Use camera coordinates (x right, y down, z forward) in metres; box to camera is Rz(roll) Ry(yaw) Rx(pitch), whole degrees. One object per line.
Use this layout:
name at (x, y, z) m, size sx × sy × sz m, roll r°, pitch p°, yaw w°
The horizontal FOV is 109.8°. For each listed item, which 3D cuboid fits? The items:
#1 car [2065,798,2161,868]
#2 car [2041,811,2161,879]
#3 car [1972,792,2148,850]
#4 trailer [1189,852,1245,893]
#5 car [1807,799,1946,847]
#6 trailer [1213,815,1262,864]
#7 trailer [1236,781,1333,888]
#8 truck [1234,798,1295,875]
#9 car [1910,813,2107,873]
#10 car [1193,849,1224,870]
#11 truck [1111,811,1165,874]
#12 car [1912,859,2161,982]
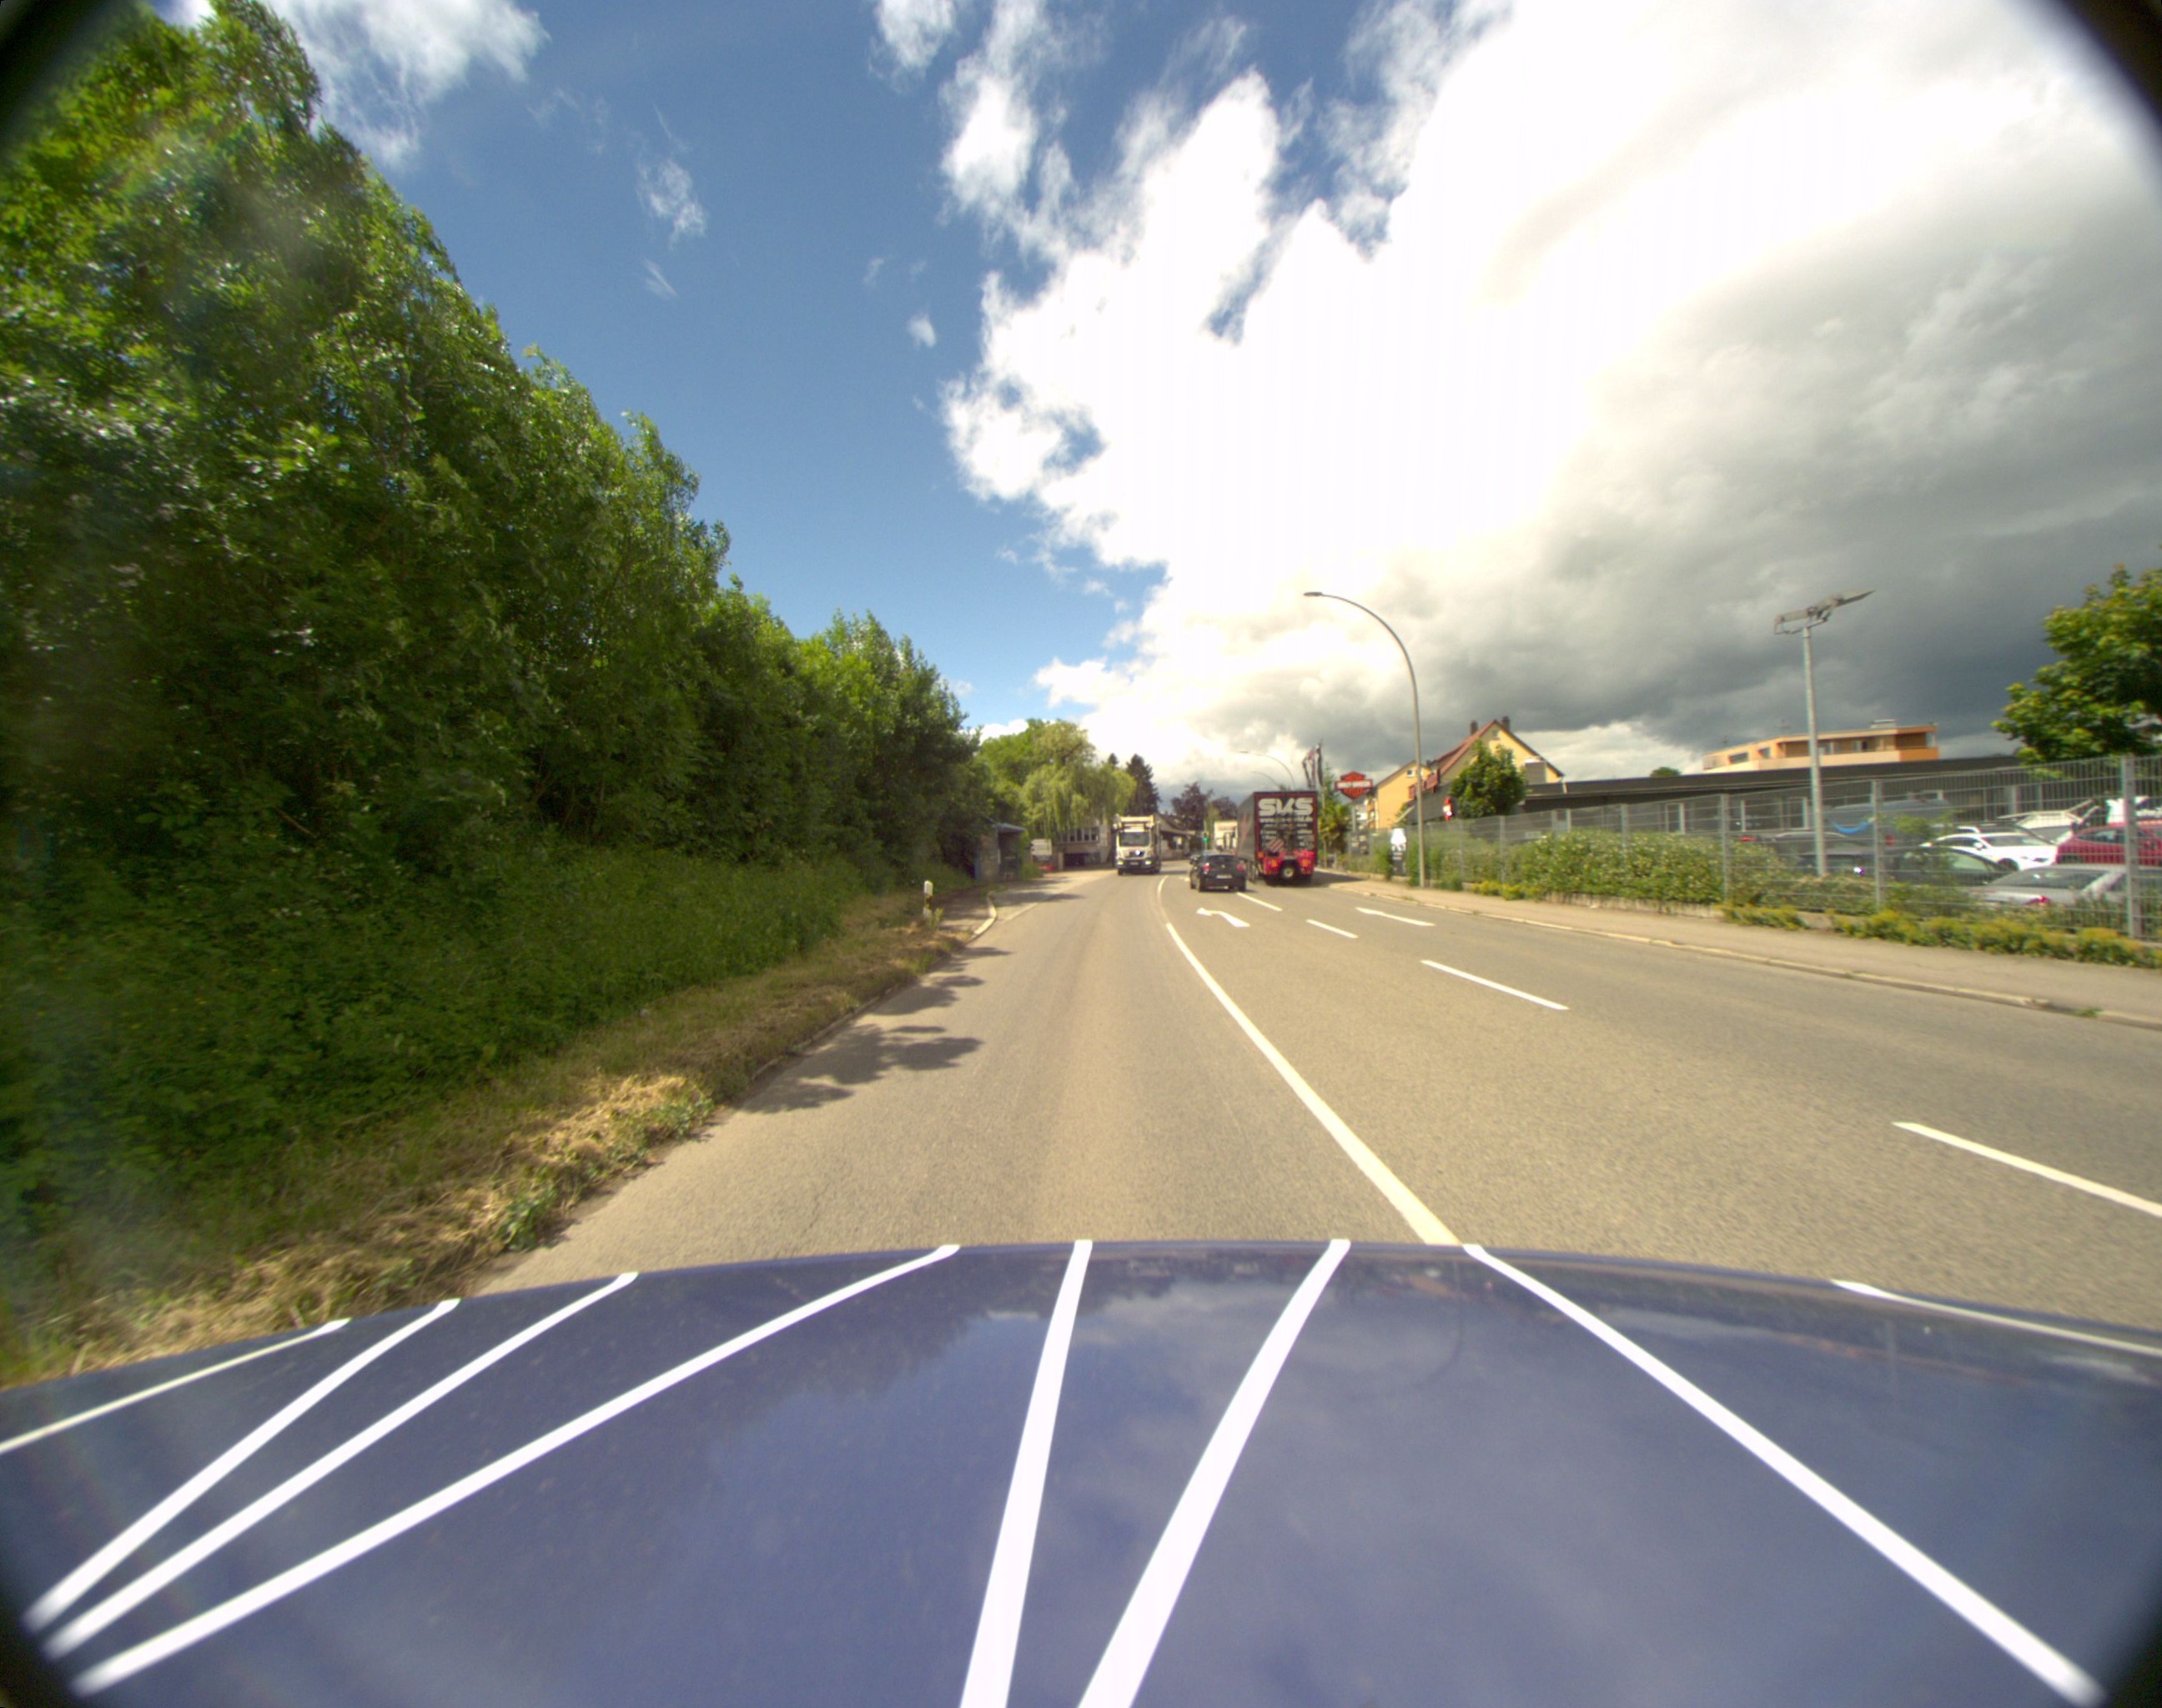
car at (30.186, -0.605, 20.643) m, size 1.781 × 1.889 × 4.735 m, roll -2°, pitch 1°, yaw 17°
car at (26.813, -0.256, 18.748) m, size 1.724 × 1.596 × 4.154 m, roll -2°, pitch 1°, yaw 15°
car at (37.335, -1.232, 29.186) m, size 1.996 × 2.002 × 4.342 m, roll -2°, pitch 1°, yaw 17°
trailer at (5.067, 0.636, 28.727) m, size 1.651 × 1.415 × 4.001 m, roll -1°, pitch 0°, yaw 4°
car at (30.018, -1.151, 28.858) m, size 1.724 × 1.596 × 4.154 m, roll -2°, pitch 1°, yaw 15°
trailer at (15.289, -1.445, 73.206) m, size 2.775 × 4.121 × 15.368 m, roll -2°, pitch 1°, yaw 18°
trailer at (9.482, -0.861, 37.284) m, size 2.804 × 4.029 × 15.564 m, roll -2°, pitch 1°, yaw 9°
truck at (10.485, -0.965, 43.974) m, size 2.804 × 4.029 × 6.504 m, roll -2°, pitch 1°, yaw 9°
car at (28.131, -0.352, 23.288) m, size 1.724 × 1.596 × 4.154 m, roll -2°, pitch 1°, yaw 15°
car at (9.065, 0.361, 54.213) m, size 1.843 × 1.455 × 4.254 m, roll -1°, pitch 1°, yaw 5°
truck at (4.093, -0.788, 52.324) m, size 2.663 × 3.789 × 9.821 m, roll -2°, pitch 1°, yaw 10°
car at (14.439, 0.853, 10.594) m, size 3.863 × 1.385 × 1.687 m, roll -2°, pitch 1°, yaw -1°
